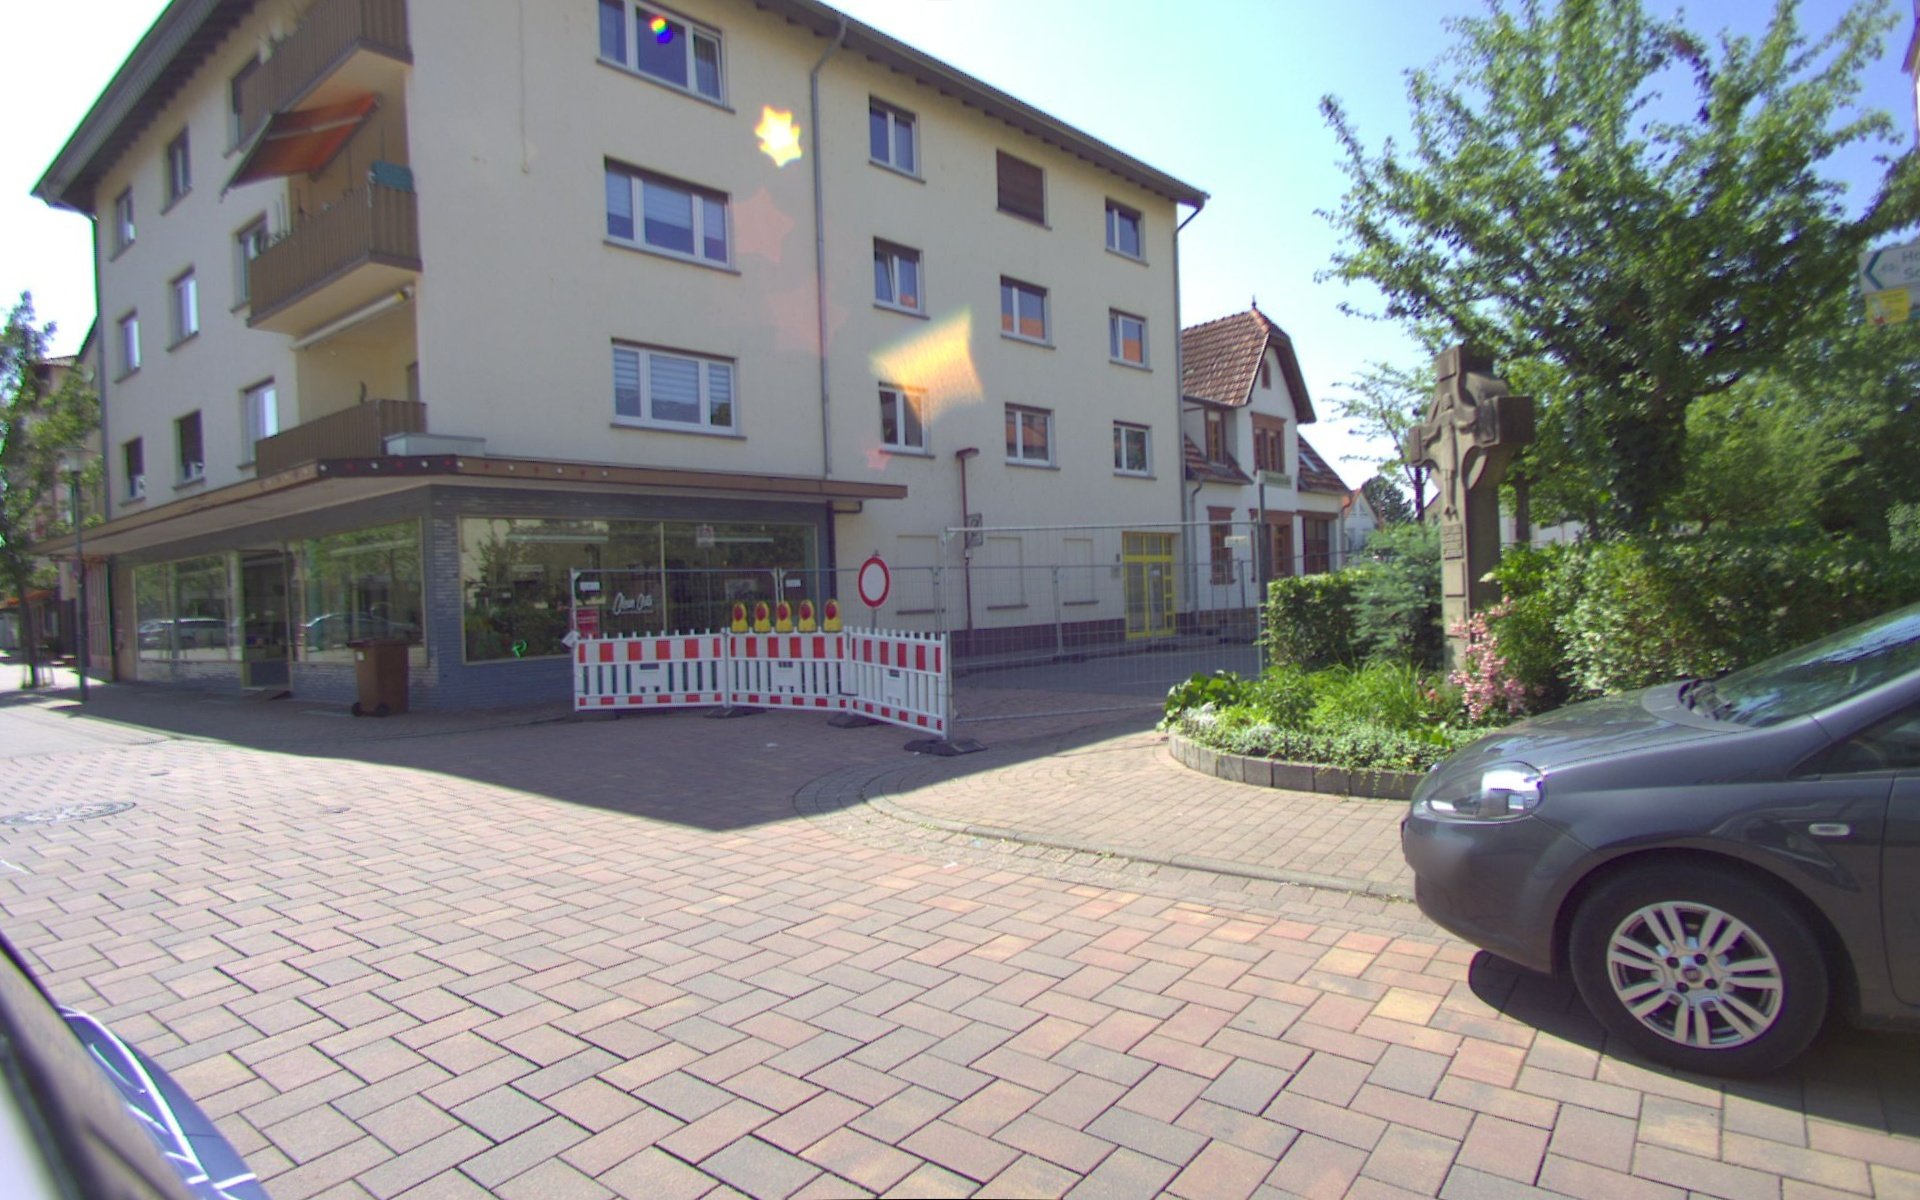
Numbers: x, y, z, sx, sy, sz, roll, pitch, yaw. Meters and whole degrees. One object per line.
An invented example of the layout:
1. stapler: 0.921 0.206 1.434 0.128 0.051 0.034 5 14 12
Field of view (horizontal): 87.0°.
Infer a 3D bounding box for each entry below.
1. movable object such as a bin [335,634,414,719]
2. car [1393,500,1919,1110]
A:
1. movable object such as a bin: -7.936 1.023 13.725 0.661 1.078 0.650 -2 1 32
2. car: 3.434 0.464 2.778 3.847 1.508 1.688 -2 0 35
